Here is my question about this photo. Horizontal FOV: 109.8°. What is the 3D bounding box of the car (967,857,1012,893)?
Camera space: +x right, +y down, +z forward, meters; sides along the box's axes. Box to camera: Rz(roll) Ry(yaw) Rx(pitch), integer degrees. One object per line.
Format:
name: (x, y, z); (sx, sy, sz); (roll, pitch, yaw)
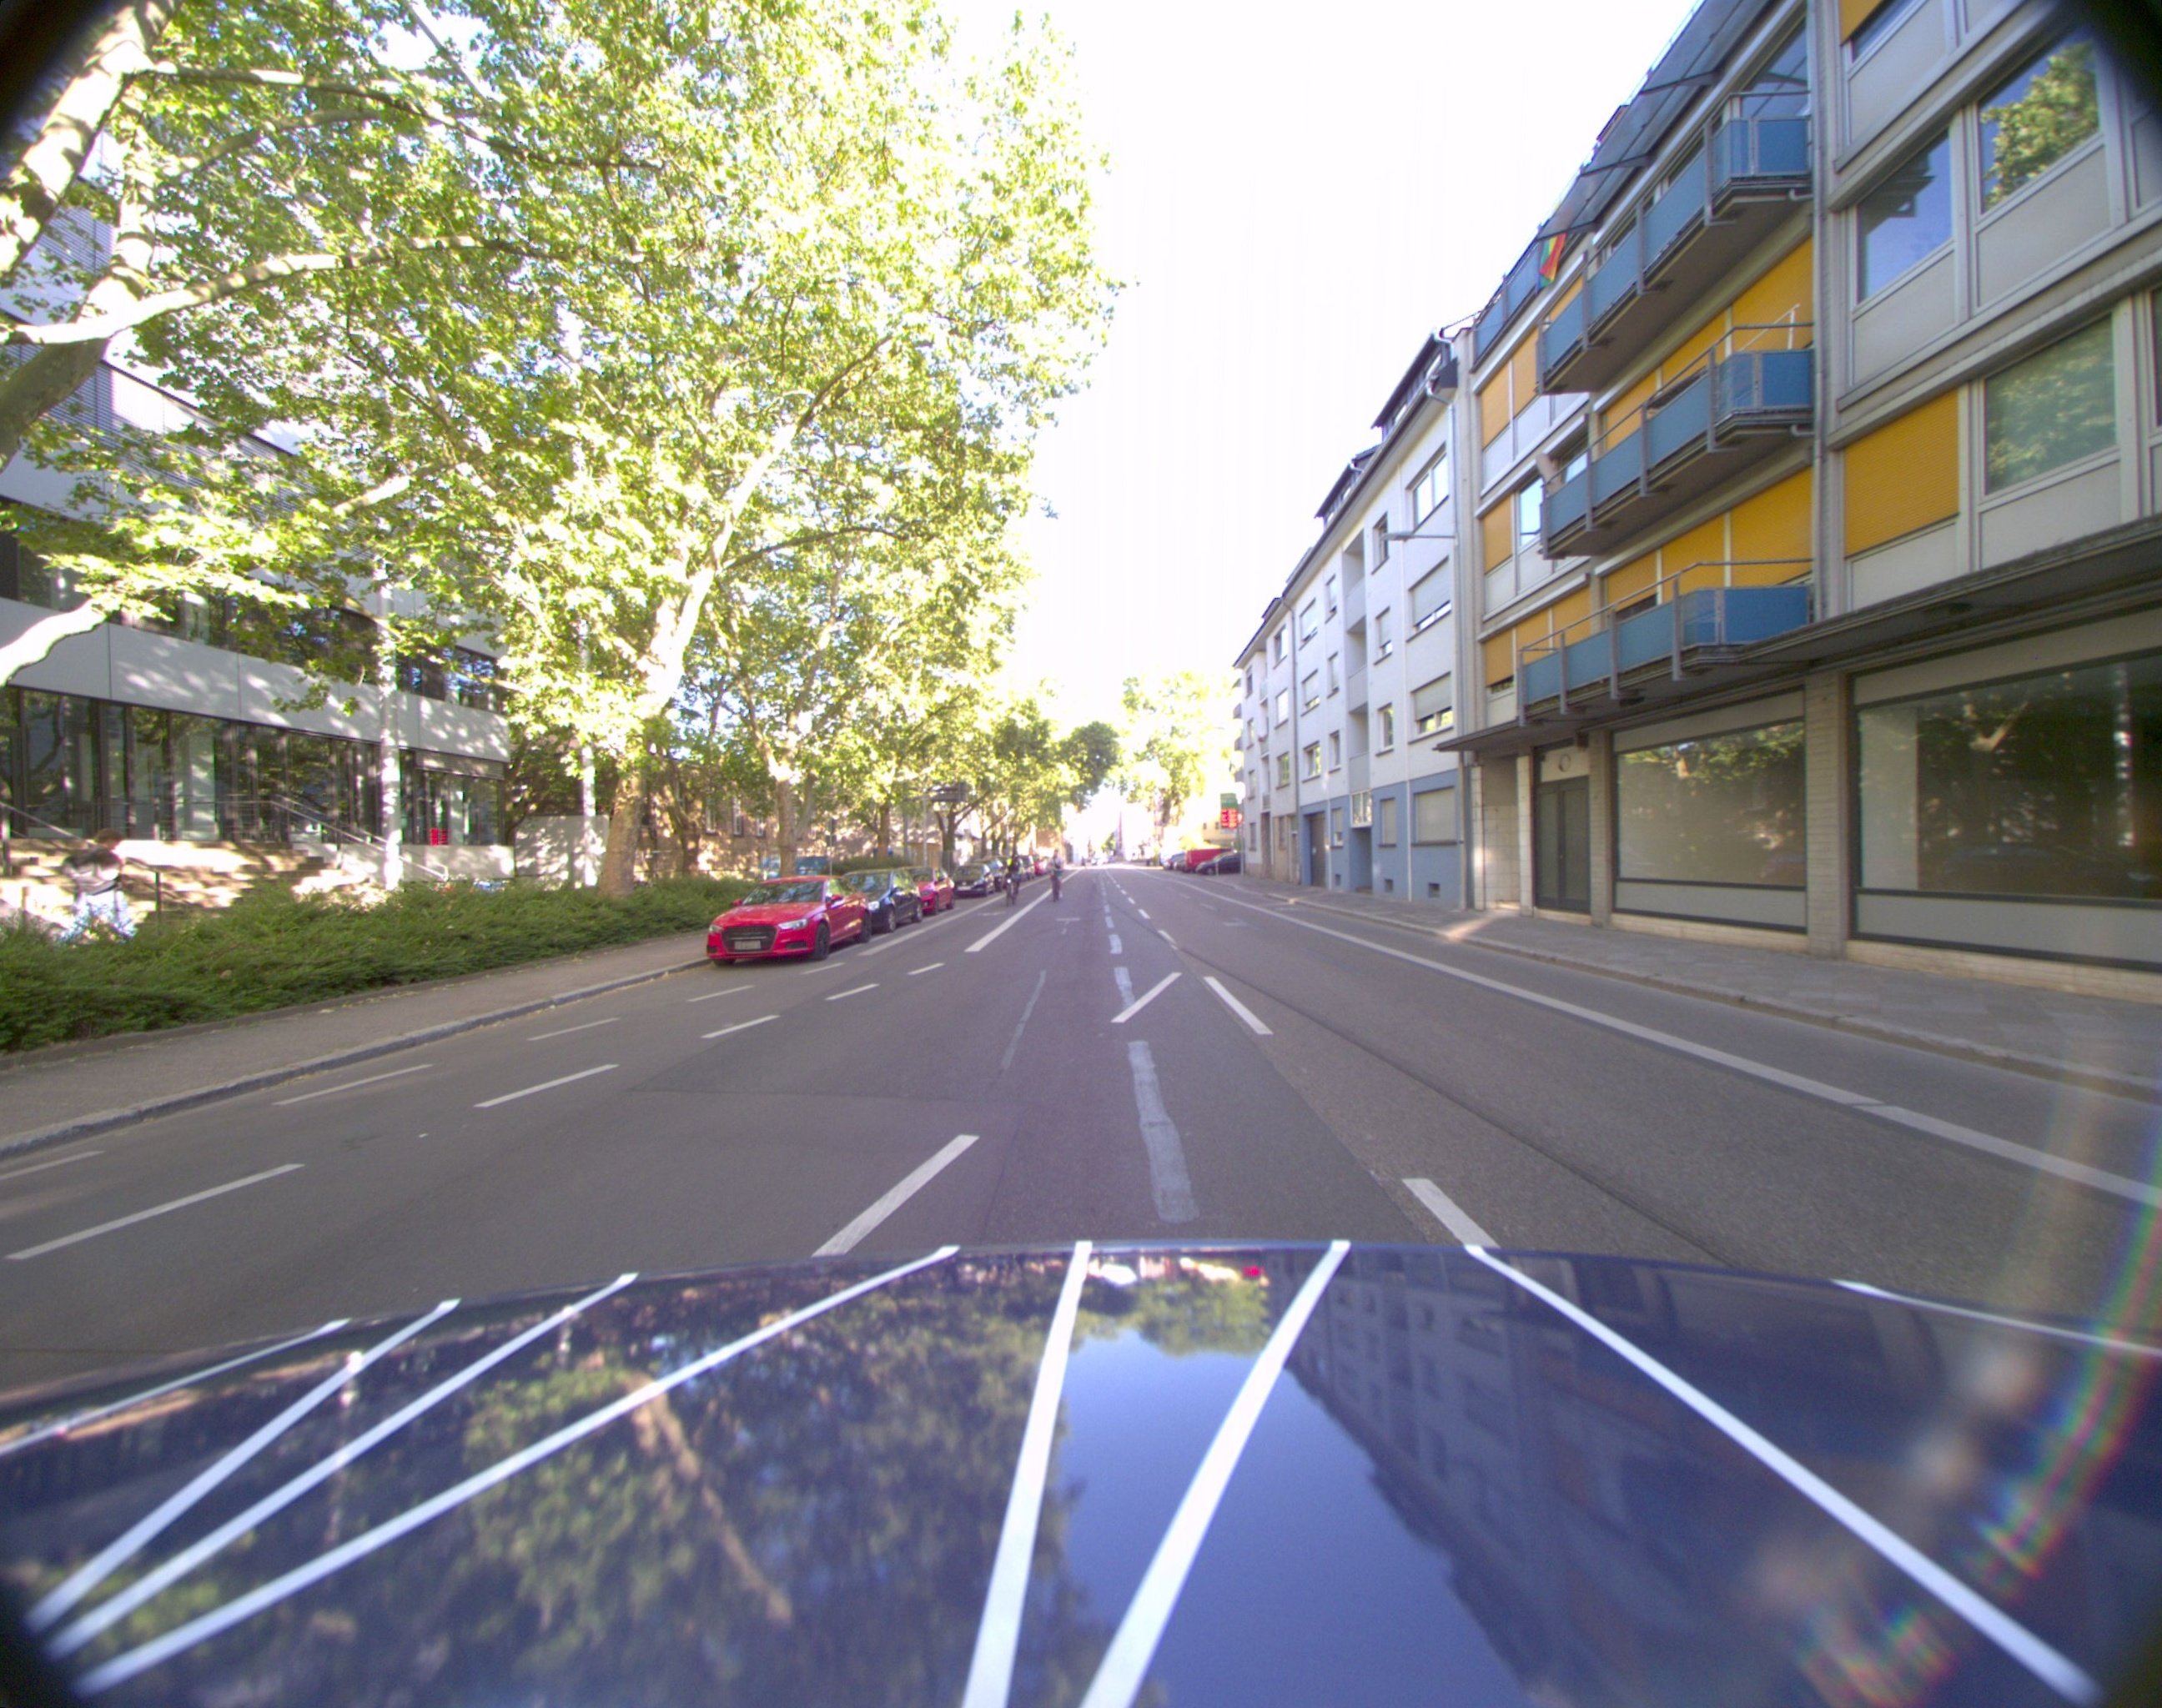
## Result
car: (-4.523, 0.993, 38.103); (1.634, 1.569, 4.231); (-2, 1, 0)

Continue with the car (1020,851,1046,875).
car: (-4.175, 0.724, 66.087); (1.915, 1.940, 3.769); (-2, 1, 0)

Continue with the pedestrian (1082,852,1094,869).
pedestrian: (0.717, 0.658, 79.098); (0.894, 1.727, 0.827); (-3, 1, -41)

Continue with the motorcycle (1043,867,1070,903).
motorcycle: (-0.866, 1.090, 27.394); (0.865, 1.161, 1.929); (-2, 1, 1)

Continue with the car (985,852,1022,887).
car: (-4.460, 0.855, 44.236); (1.634, 1.781, 4.576); (-2, 1, 0)

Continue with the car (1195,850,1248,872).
car: (10.529, 0.488, 57.094); (3.687, 1.503, 1.490); (-2, 1, 2)

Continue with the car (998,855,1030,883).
car: (-4.358, 0.941, 50.108); (1.634, 1.604, 4.576); (-2, 1, 0)

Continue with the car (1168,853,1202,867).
car: (10.318, 0.586, 75.463); (3.271, 1.238, 1.345); (-2, 1, 2)

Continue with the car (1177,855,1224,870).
car: (9.807, 0.697, 62.584); (3.687, 1.122, 1.345); (-2, 1, 2)

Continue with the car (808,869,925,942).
car: (-5.055, 1.163, 18.407); (1.669, 1.410, 3.697); (-2, 1, 1)

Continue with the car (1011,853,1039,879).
car: (-4.042, 0.816, 55.235); (1.634, 1.725, 3.769); (-2, 1, 0)

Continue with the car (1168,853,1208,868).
car: (10.262, 0.631, 73.025); (3.687, 1.238, 1.345); (-2, 1, 2)

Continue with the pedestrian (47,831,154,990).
pedestrian: (-12.875, 0.718, 9.996); (0.552, 2.002, 0.562); (-2, 1, -11)

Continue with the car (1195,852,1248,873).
car: (10.086, 0.593, 54.725); (3.508, 1.380, 1.490); (-2, 1, 2)

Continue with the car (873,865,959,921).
car: (-5.018, 1.133, 23.680); (1.692, 1.441, 3.923); (-2, 1, 1)

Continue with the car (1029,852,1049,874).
car: (-3.908, 0.809, 70.999); (1.599, 1.835, 3.769); (-2, 1, 0)

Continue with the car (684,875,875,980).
car: (-5.166, 1.180, 13.653); (1.794, 1.384, 3.999); (-2, 1, 0)

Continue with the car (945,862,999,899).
car: (-4.698, 1.112, 33.232); (1.692, 1.414, 3.923); (-2, 1, 0)

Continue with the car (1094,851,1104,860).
car: (3.154, 0.276, 132.297); (1.752, 1.423, 4.266); (-2, 0, 2)

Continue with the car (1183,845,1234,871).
car: (10.056, 0.324, 59.938); (3.688, 1.897, 1.490); (-2, -1, -1)

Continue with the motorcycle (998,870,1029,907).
motorcycle: (-2.308, 1.179, 26.391); (0.799, 1.125, 2.236); (-2, 1, 1)
